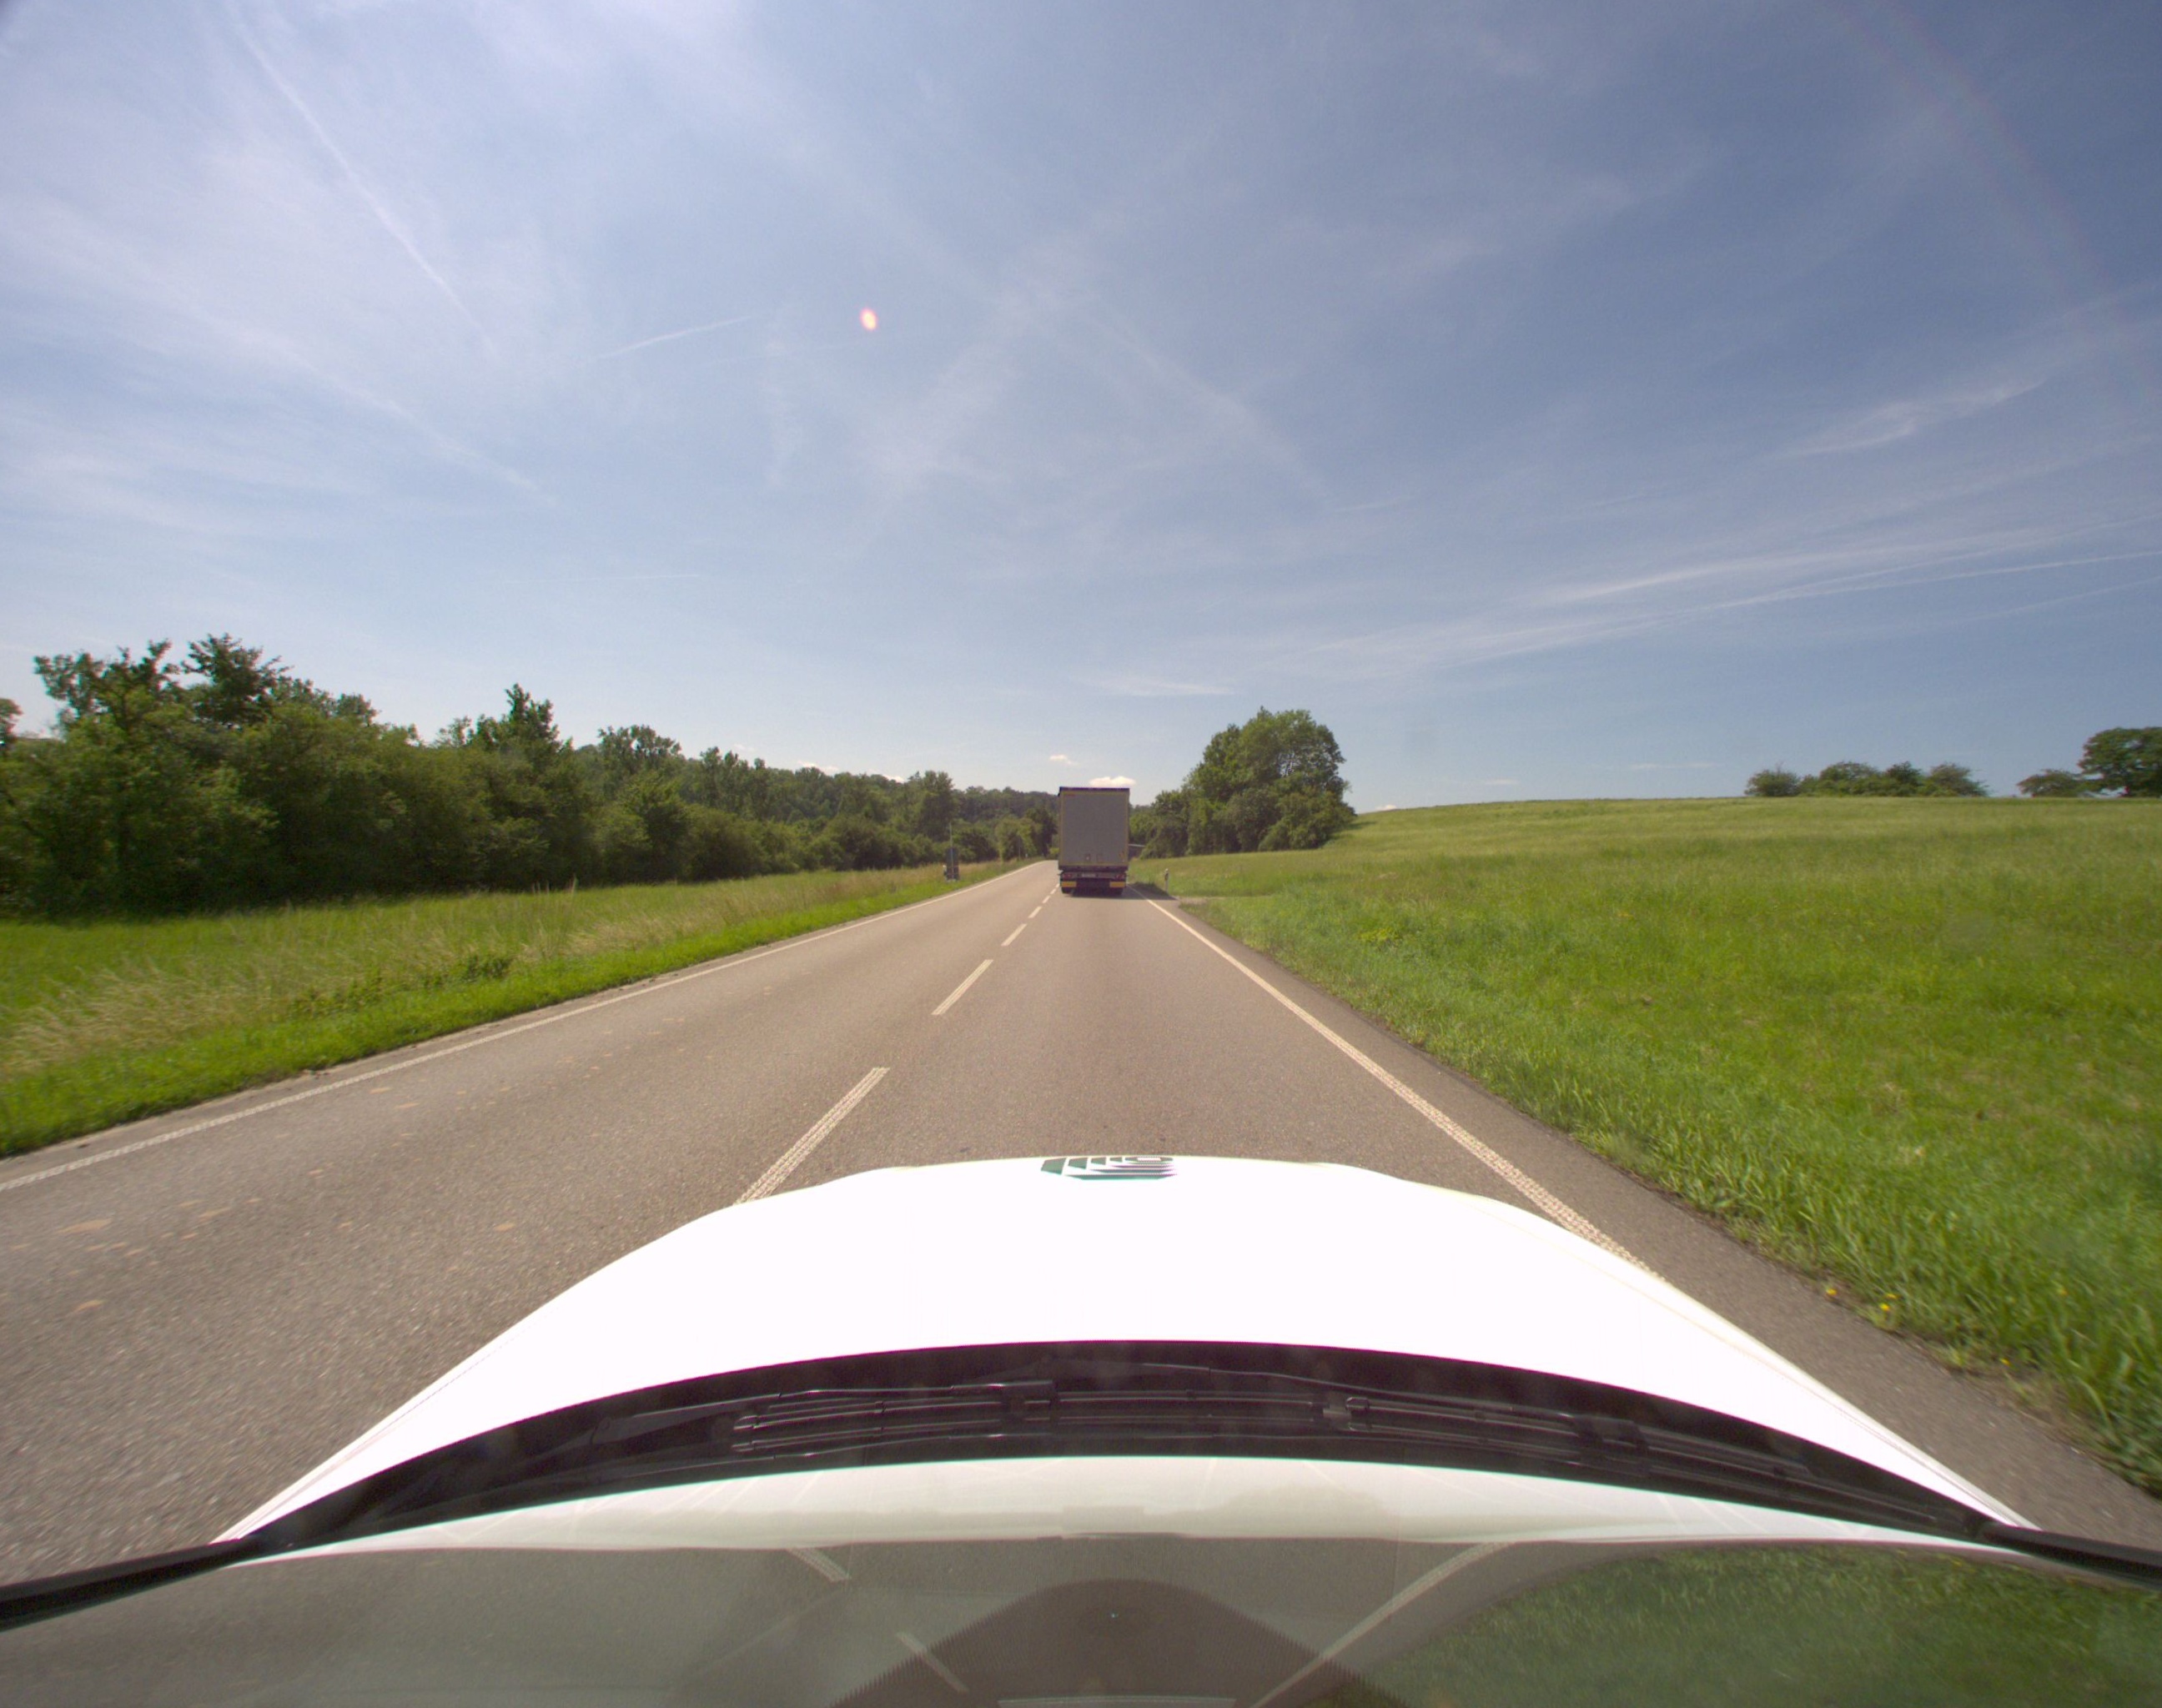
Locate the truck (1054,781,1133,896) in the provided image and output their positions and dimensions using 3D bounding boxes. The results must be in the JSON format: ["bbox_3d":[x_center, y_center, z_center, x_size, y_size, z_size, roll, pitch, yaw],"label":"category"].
[{"bbox_3d":[0.505,-0.490,36.694,2.792,4.069,15.323,1,0,0],"label":"truck"}]

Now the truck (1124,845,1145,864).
[{"bbox_3d":[13.046,0.238,196.436,3.282,4.386,13.453,-1,-1,11],"label":"truck"}]
